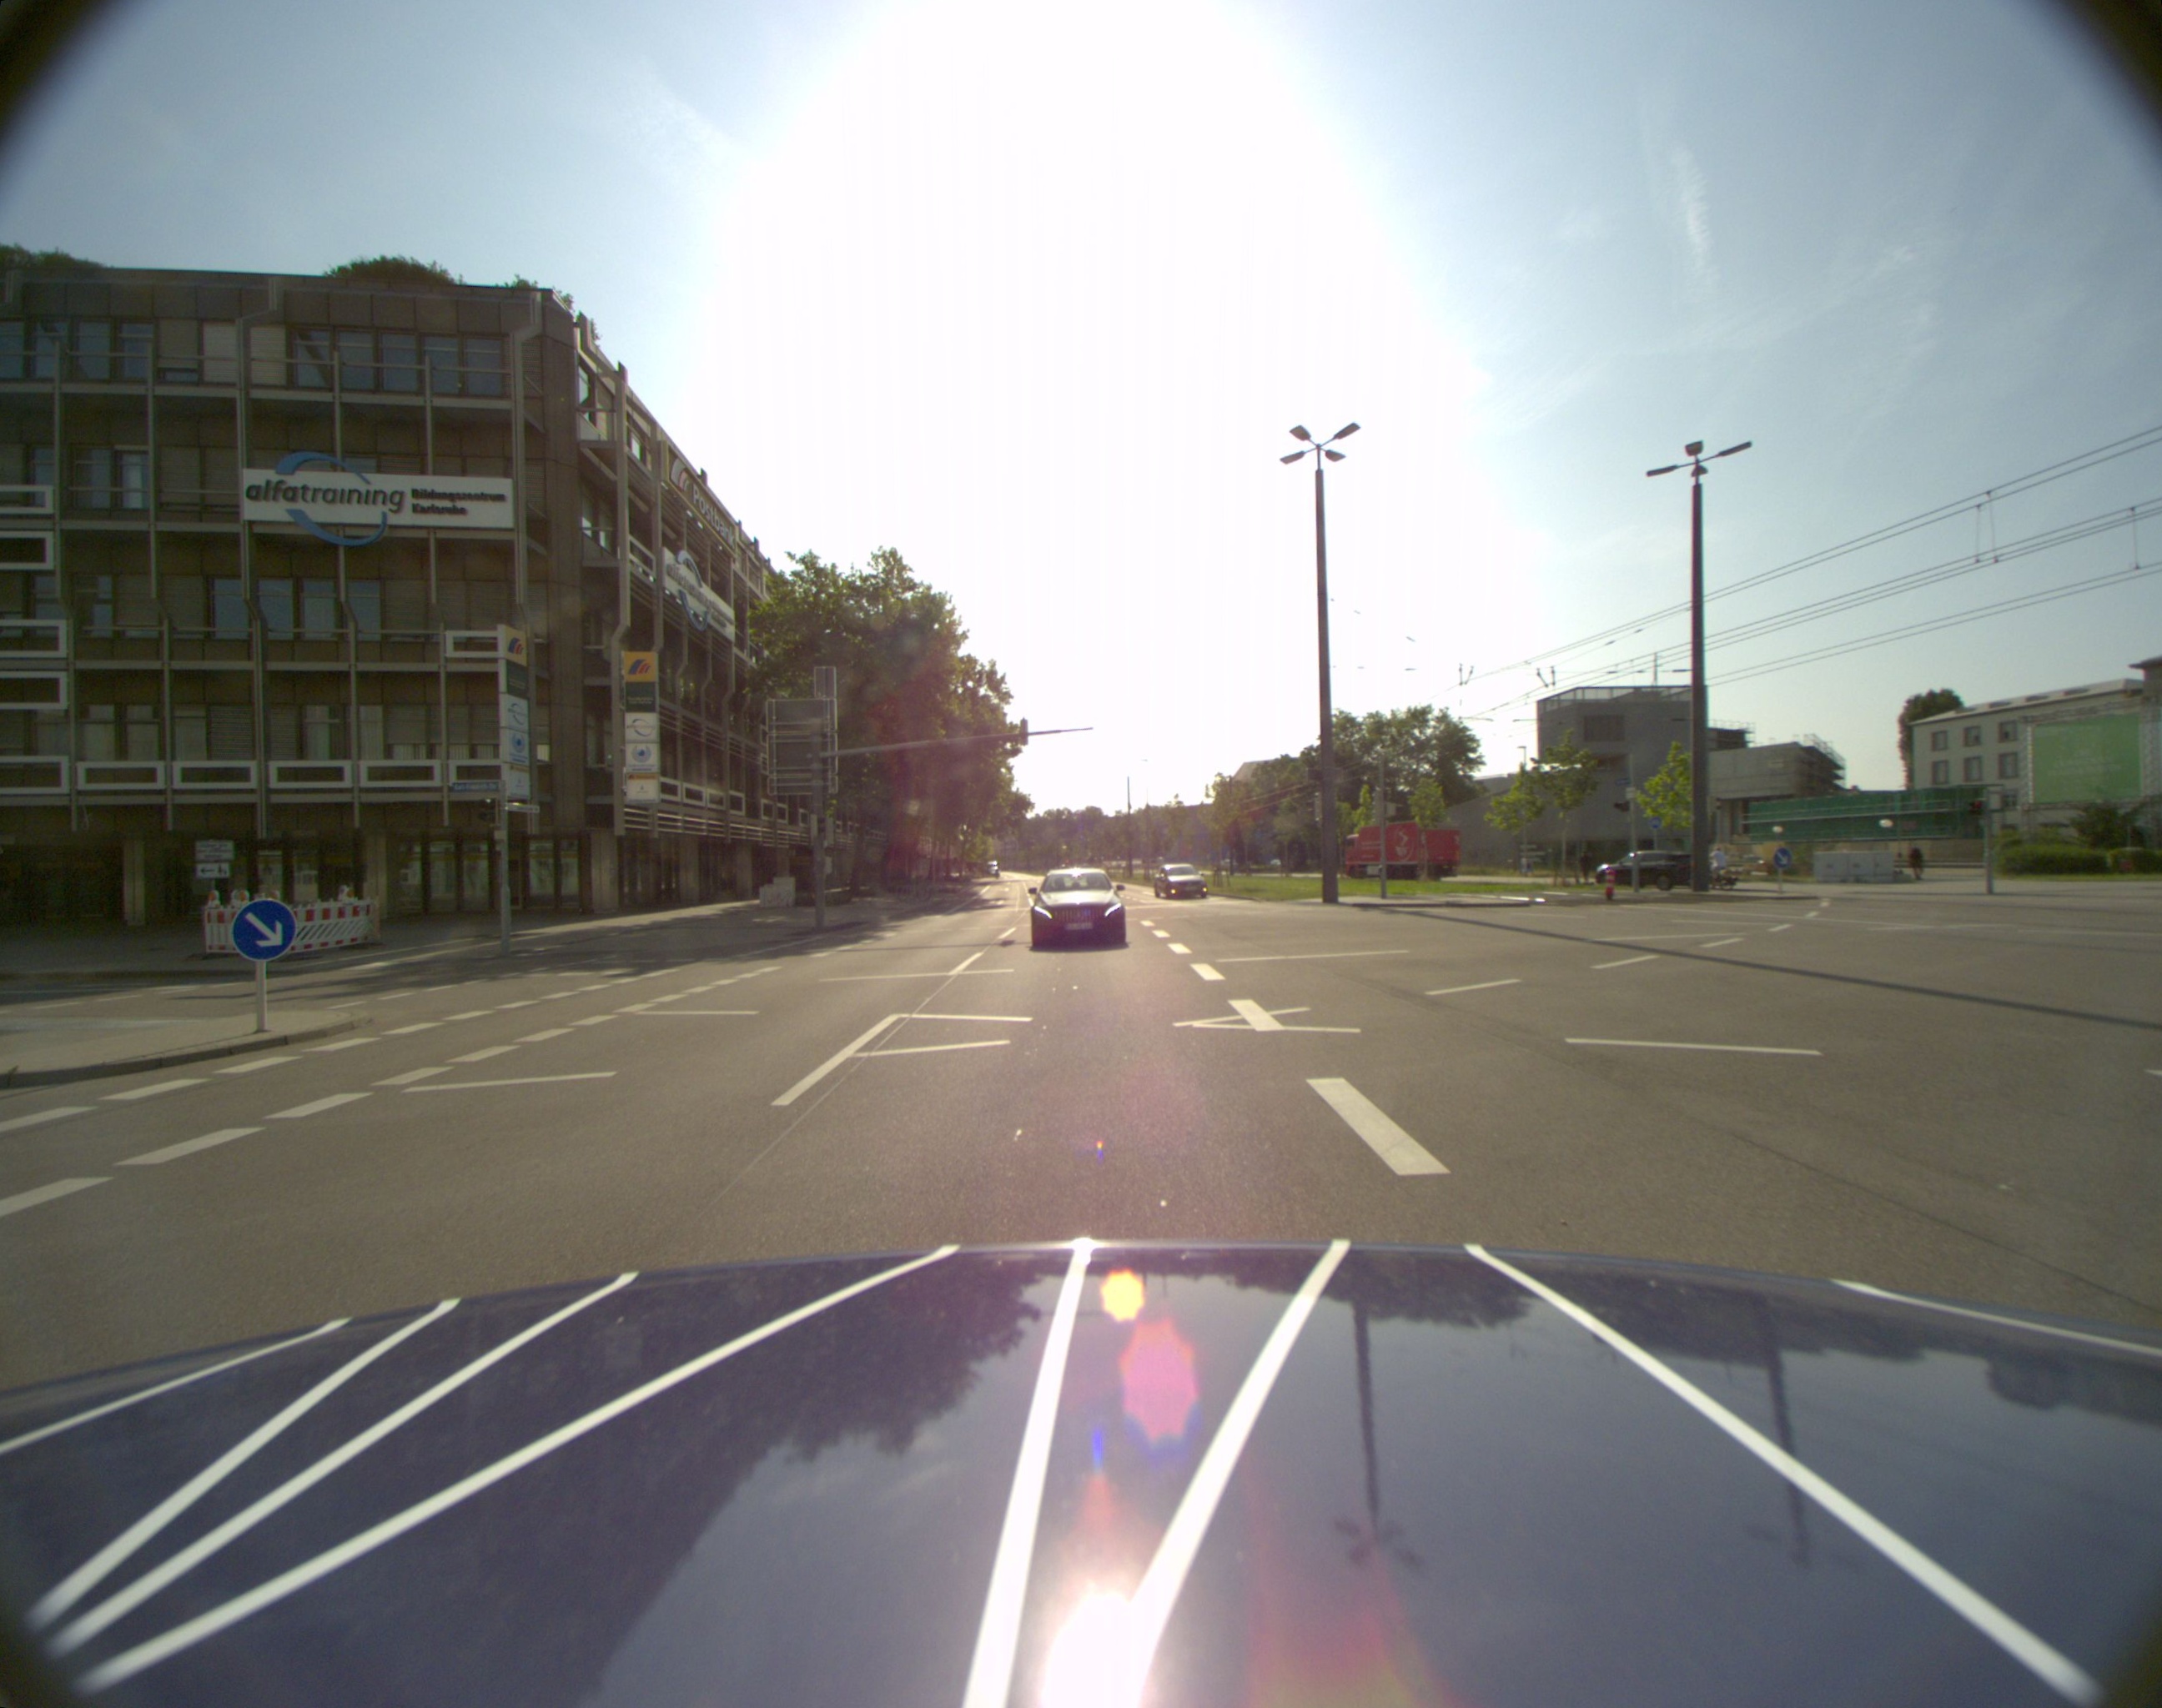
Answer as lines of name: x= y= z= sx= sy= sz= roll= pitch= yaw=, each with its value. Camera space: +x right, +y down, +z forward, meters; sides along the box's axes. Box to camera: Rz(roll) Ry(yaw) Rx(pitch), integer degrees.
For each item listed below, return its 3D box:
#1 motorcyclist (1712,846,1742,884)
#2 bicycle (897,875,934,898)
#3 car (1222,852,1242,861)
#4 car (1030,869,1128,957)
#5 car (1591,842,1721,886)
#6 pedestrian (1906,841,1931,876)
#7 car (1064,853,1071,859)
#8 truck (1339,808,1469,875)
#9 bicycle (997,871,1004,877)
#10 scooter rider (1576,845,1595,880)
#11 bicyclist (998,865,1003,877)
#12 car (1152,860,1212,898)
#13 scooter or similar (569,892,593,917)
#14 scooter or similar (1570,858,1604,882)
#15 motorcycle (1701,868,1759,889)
motorcyclist: x=26.099 y=0.443 z=30.705 sx=0.392 sy=1.519 sz=0.860 roll=-1 pitch=0 yaw=-12
bicycle: x=-8.661 y=1.681 z=39.810 sx=1.832 sy=1.181 sz=0.537 roll=0 pitch=0 yaw=0
car: x=29.726 y=0.566 z=149.941 sx=2.020 sy=1.757 sz=4.818 roll=-2 pitch=0 yaw=-13
car: x=-0.147 y=1.119 z=16.275 sx=1.717 sy=1.429 sz=5.056 roll=-2 pitch=0 yaw=-3
car: x=22.710 y=0.377 z=30.185 sx=1.645 sy=1.592 sz=3.996 roll=-1 pitch=0 yaw=-12
pedestrian: x=42.012 y=0.223 z=38.107 sx=0.607 sy=1.687 sz=0.538 roll=-1 pitch=0 yaw=-1
car: x=-4.276 y=0.704 z=238.251 sx=1.757 sy=1.968 sz=3.770 roll=-2 pitch=0 yaw=-4
truck: x=20.291 y=-0.683 z=48.691 sx=2.980 sy=3.787 sz=10.418 roll=-2 pitch=0 yaw=-5
bicycle: x=-10.733 y=2.651 z=101.365 sx=0.630 sy=0.702 sz=1.807 roll=-2 pitch=0 yaw=-14
scooter rider: x=24.794 y=0.411 z=37.349 sx=0.539 sy=1.688 sz=0.549 roll=-2 pitch=0 yaw=-10
bicyclist: x=-10.731 y=2.246 z=101.316 sx=0.612 sy=1.504 sz=0.813 roll=-2 pitch=0 yaw=-15
car: x=4.281 y=1.035 z=32.719 sx=1.709 sy=1.424 sz=3.868 roll=-4 pitch=0 yaw=-4
scooter or similar: x=-17.889 y=1.787 z=27.212 sx=0.279 sy=0.838 sz=0.959 roll=-2 pitch=0 yaw=-5
scooter or similar: x=24.805 y=0.773 z=37.269 sx=0.541 sy=1.140 sz=1.382 roll=-2 pitch=0 yaw=-11
motorcycle: x=26.119 y=0.970 z=30.593 sx=0.521 sy=0.828 sz=1.820 roll=-1 pitch=0 yaw=-12
